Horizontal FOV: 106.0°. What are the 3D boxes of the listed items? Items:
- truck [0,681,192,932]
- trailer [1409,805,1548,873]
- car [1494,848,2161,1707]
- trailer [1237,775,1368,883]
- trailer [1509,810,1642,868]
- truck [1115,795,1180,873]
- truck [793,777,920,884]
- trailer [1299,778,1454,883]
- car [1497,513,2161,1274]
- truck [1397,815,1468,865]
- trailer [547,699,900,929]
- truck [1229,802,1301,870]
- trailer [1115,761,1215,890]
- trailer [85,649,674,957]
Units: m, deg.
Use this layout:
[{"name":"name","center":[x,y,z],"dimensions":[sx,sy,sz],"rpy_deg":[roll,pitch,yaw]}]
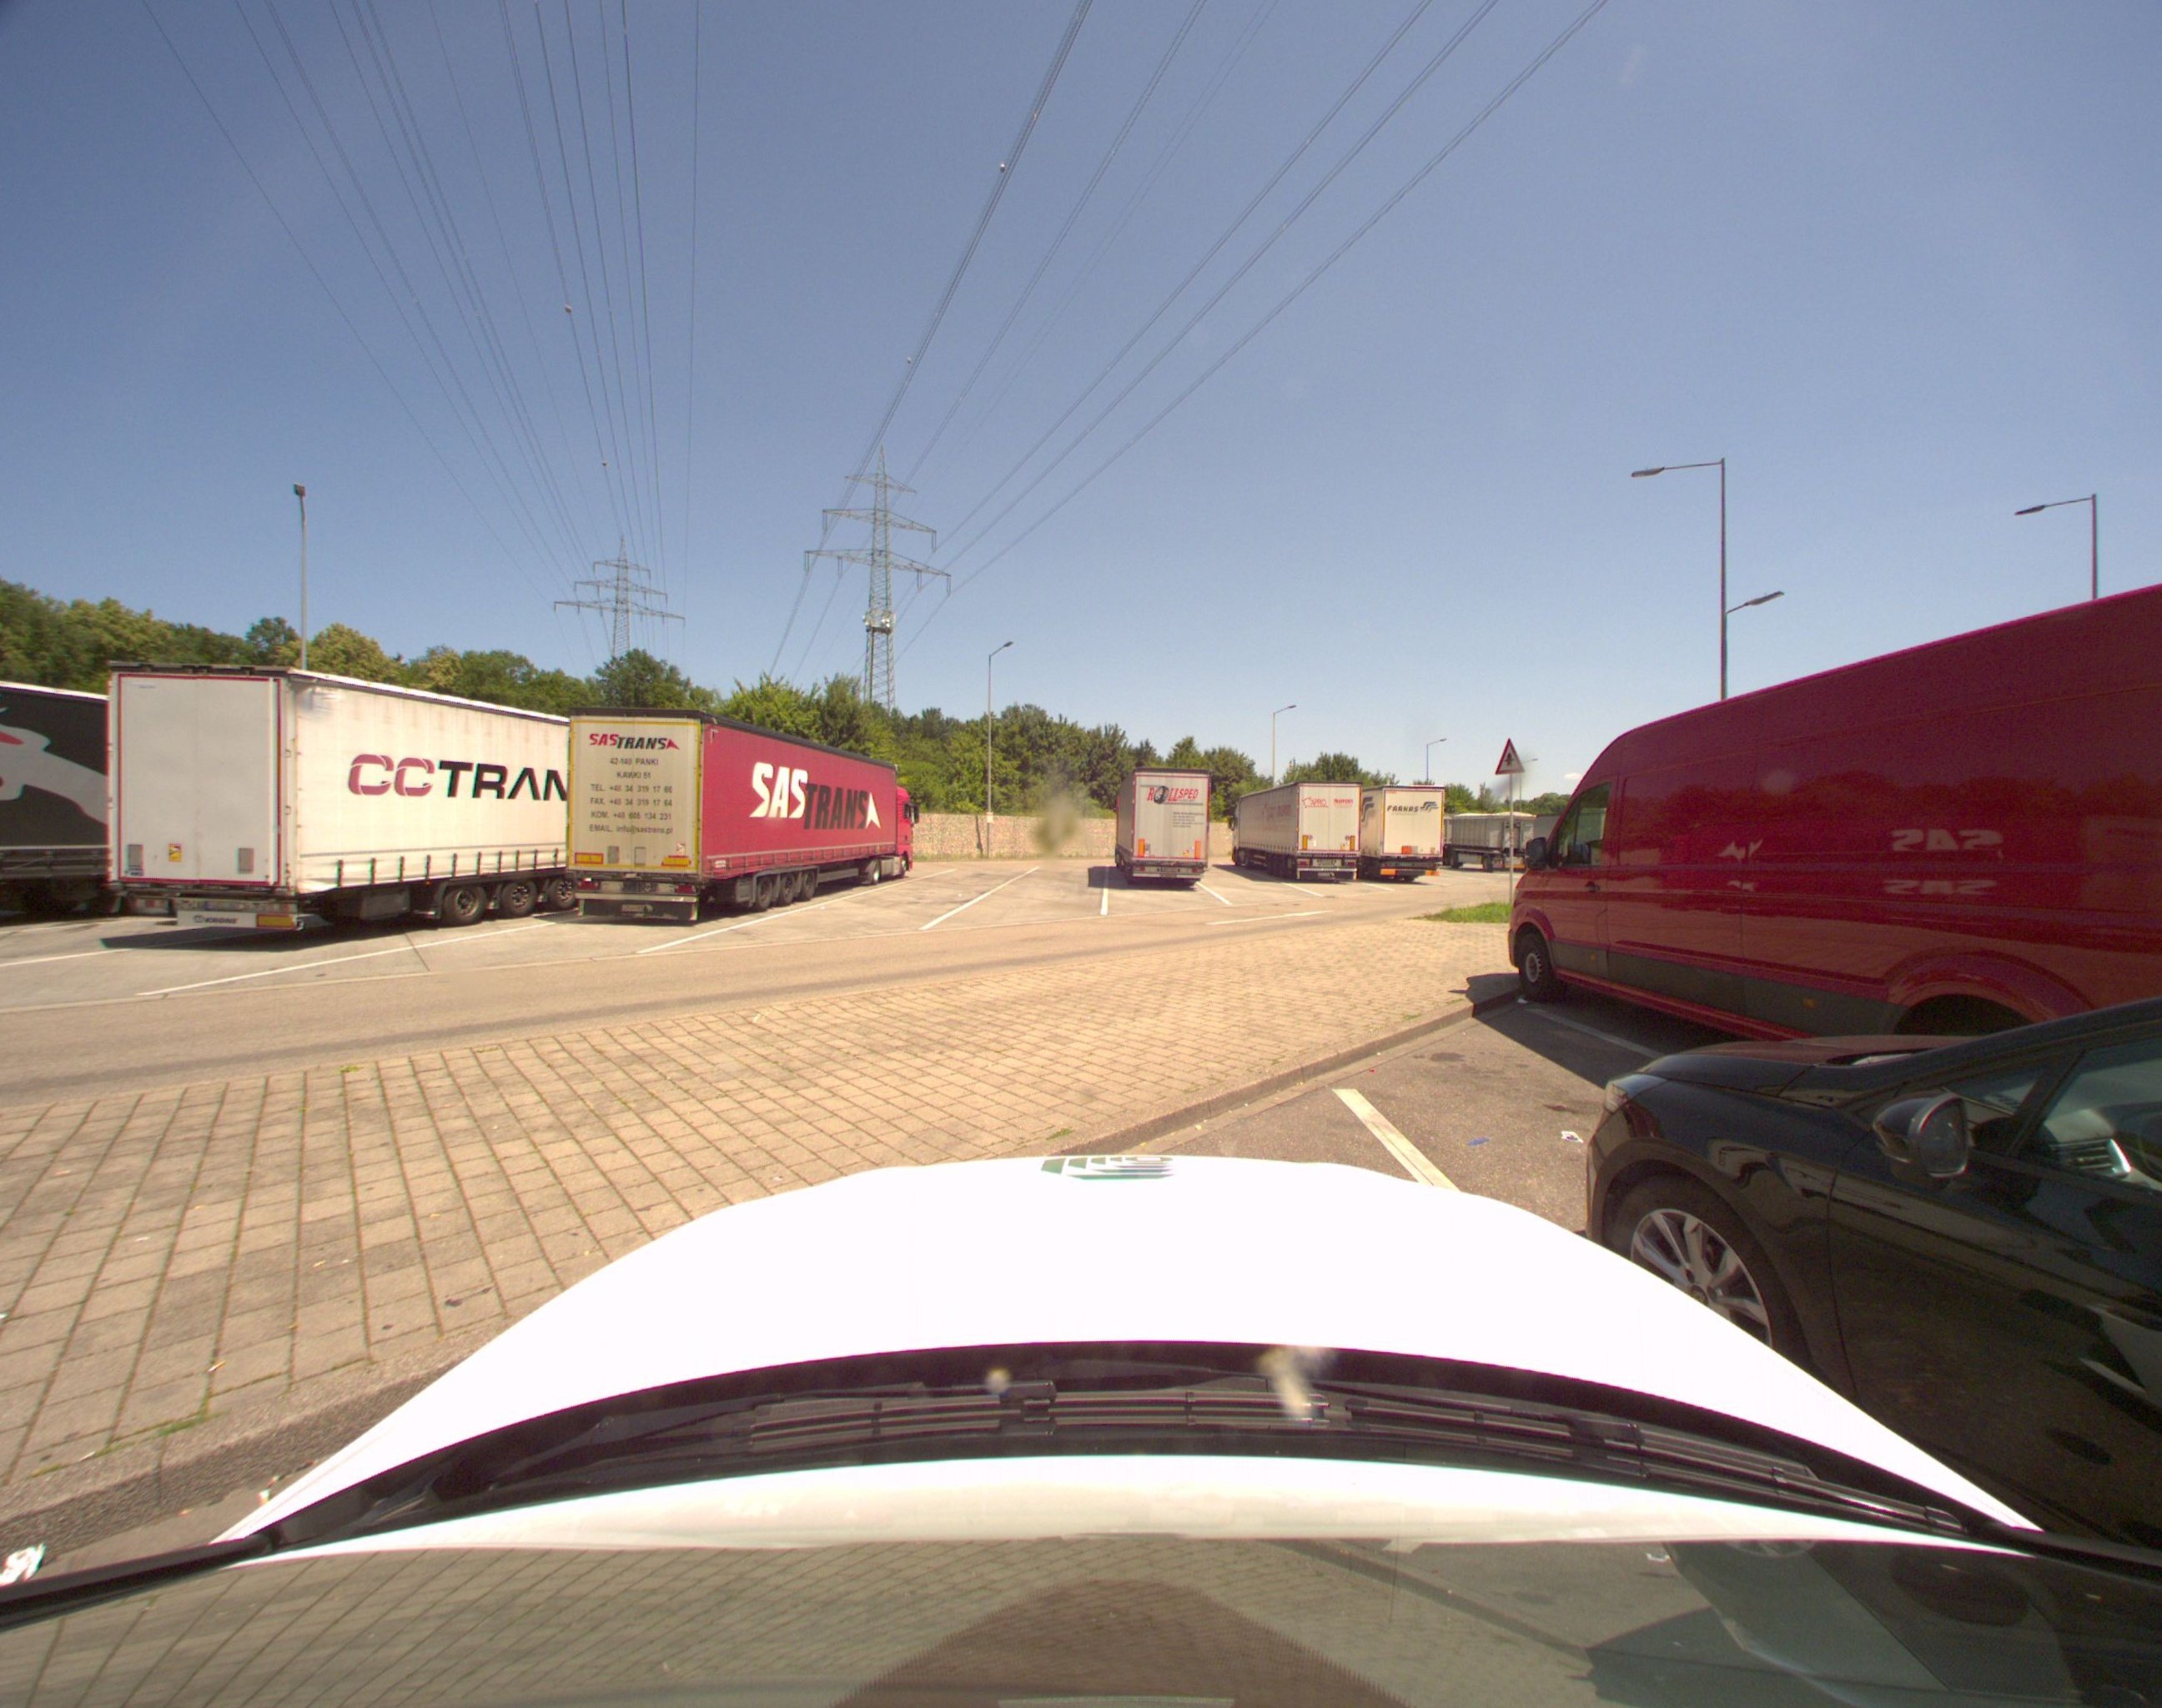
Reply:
[{"name":"truck","center":[-18.587,-0.799,13.567],"dimensions":[2.692,4.016,4.326],"rpy_deg":[1,2,2]},{"name":"trailer","center":[24.525,-1.001,51.456],"dimensions":[2.826,3.717,13.737],"rpy_deg":[1,2,3]},{"name":"car","center":[2.511,0.757,1.183],"dimensions":[1.733,1.482,3.813],"rpy_deg":[-1,1,-3]},{"name":"trailer","center":[9.948,-1.153,38.626],"dimensions":[2.828,4.132,13.730],"rpy_deg":[1,2,2]},{"name":"trailer","center":[38.367,-1.238,64.140],"dimensions":[2.826,4.049,13.737],"rpy_deg":[1,2,3]},{"name":"truck","center":[3.162,-0.988,39.912],"dimensions":[2.841,3.483,5.486],"rpy_deg":[1,1,2]},{"name":"truck","center":[-7.807,-0.834,29.097],"dimensions":[2.841,3.427,5.486],"rpy_deg":[1,1,2]},{"name":"trailer","center":[13.605,-1.120,39.290],"dimensions":[2.828,4.132,13.730],"rpy_deg":[1,2,2]},{"name":"car","center":[5.154,0.090,5.493],"dimensions":[2.055,2.695,6.405],"rpy_deg":[-1,1,6]},{"name":"truck","center":[24.914,-1.010,57.955],"dimensions":[2.840,3.364,5.488],"rpy_deg":[1,1,3]},{"name":"trailer","center":[-8.046,-0.952,21.660],"dimensions":[2.896,4.131,13.731],"rpy_deg":[1,2,2]},{"name":"truck","center":[10.157,-1.028,45.437],"dimensions":[2.841,3.483,5.486],"rpy_deg":[1,1,2]},{"name":"trailer","center":[3.018,-1.101,33.299],"dimensions":[2.896,4.132,13.727],"rpy_deg":[1,2,1]},{"name":"trailer","center":[-12.211,-0.887,16.331],"dimensions":[2.718,4.209,10.175],"rpy_deg":[1,2,2]}]
